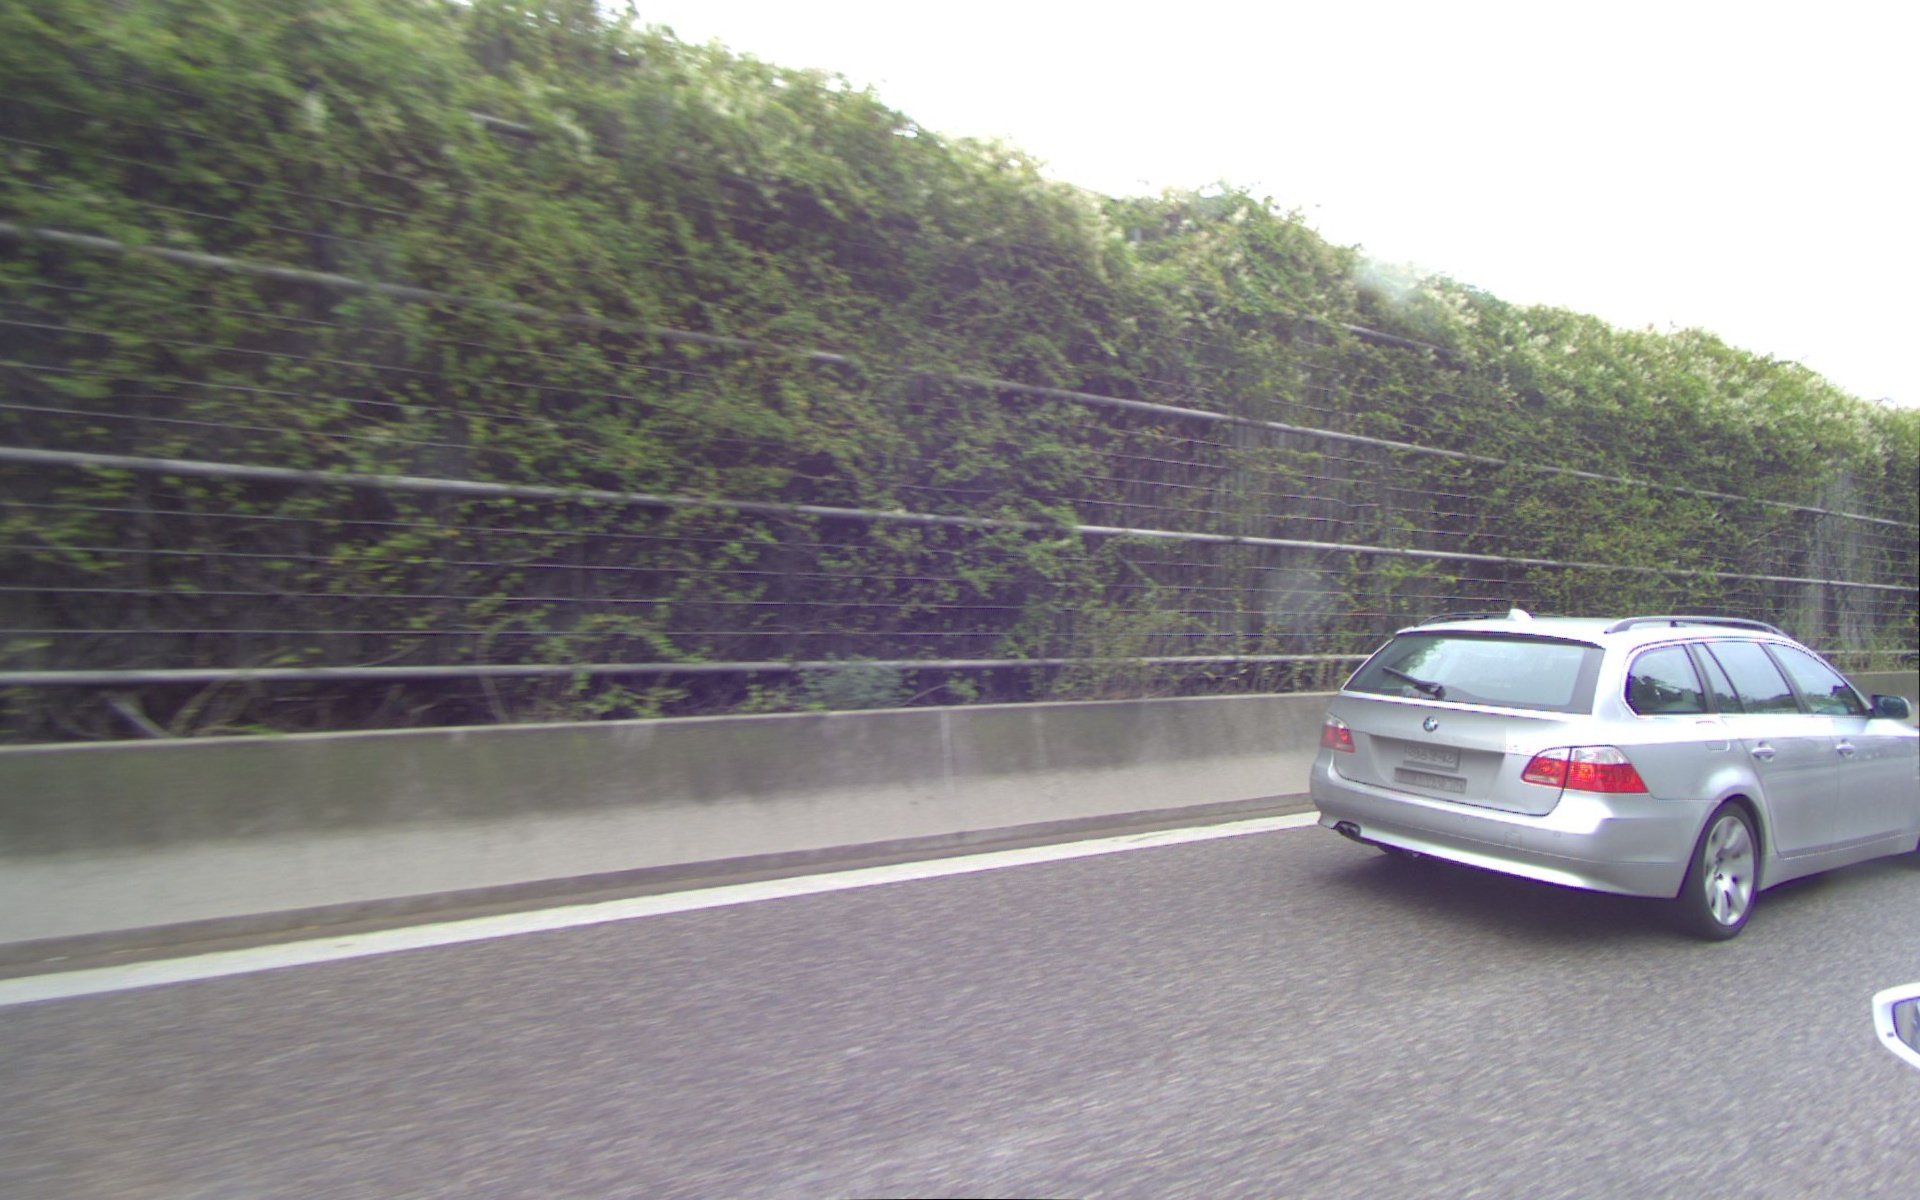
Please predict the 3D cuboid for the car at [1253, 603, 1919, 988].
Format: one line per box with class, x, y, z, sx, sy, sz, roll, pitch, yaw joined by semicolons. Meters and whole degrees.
car;4.169;0.865;5.962;4.972;1.488;1.711;2;0;-31
